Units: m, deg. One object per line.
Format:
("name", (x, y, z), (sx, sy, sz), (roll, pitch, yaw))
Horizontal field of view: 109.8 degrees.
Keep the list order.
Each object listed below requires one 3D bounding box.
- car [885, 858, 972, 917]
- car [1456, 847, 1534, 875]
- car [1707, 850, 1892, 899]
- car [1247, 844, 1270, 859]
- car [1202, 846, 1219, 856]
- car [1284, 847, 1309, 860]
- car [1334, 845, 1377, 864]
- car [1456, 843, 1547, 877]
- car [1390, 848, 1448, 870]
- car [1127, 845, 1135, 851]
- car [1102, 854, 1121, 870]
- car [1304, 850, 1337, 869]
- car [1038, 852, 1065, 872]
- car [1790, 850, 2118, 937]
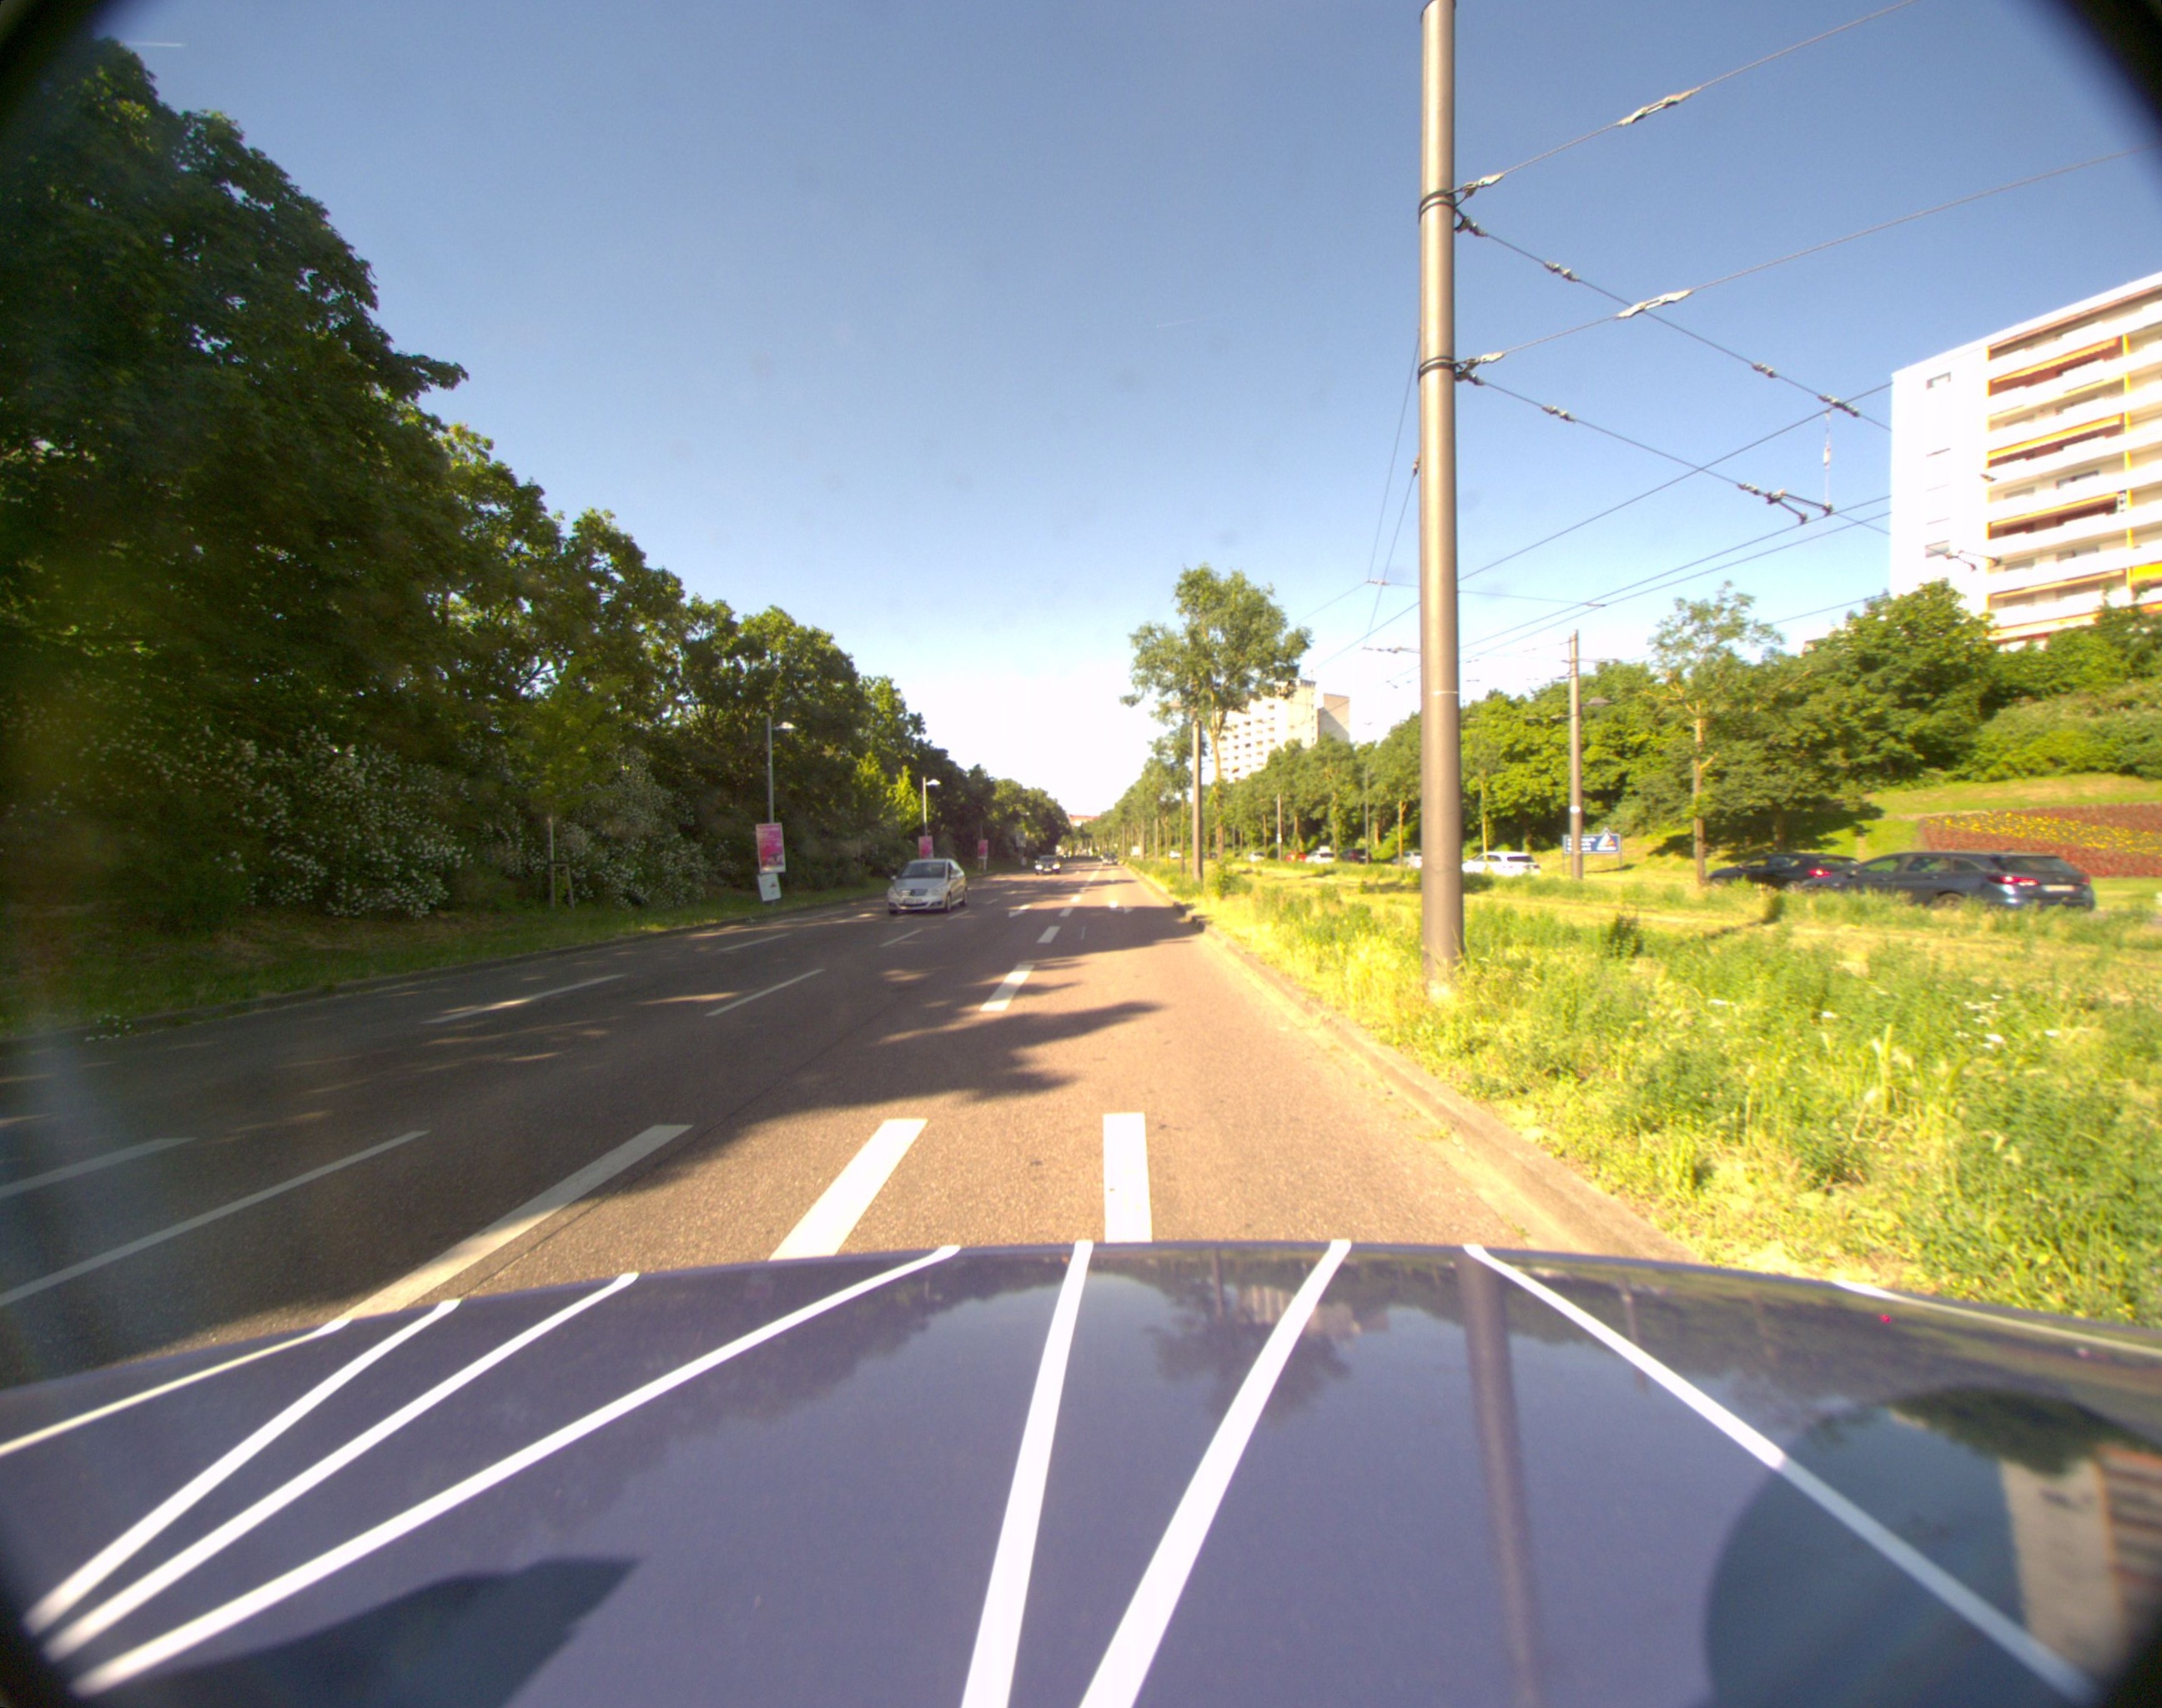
("car", (-4.592, 0.960, 23.419), (1.672, 1.531, 4.060), (-2, 0, 2))
("car", (22.357, 0.346, 41.265), (1.998, 1.366, 4.400), (-2, 1, 3))
("car", (21.687, 0.568, 23.189), (1.866, 1.334, 4.031), (0, 1, 1))
("car", (19.598, -0.270, 84.060), (1.767, 1.599, 3.758), (0, 1, 2))
("car", (19.042, -0.437, 111.917), (1.998, 1.401, 4.991), (-2, 1, 4))
("car", (22.974, -0.067, 81.200), (1.661, 1.290, 4.177), (-2, 1, 3))
("car", (22.824, -0.003, 63.327), (1.998, 1.472, 4.631), (-2, 1, 2))
("car", (18.950, 0.229, 34.517), (1.707, 1.415, 4.643), (0, 1, 2))
("car", (23.010, 0.290, 51.982), (1.998, 1.424, 4.693), (0, 1, 2))
("car", (13.846, -1.603, 210.800), (1.998, 1.575, 5.273), (-2, 1, 2))
("car", (3.397, 0.887, 85.591), (1.998, 1.696, 3.999), (-2, 1, 1))
("car", (19.451, 0.438, 61.788), (1.592, 1.464, 4.183), (1, 1, 3))
("car", (-2.277, 0.594, 58.997), (1.831, 1.401, 4.216), (-2, 1, 1))
("car", (18.077, 0.709, 16.162), (1.998, 1.585, 4.465), (0, 1, 4))
